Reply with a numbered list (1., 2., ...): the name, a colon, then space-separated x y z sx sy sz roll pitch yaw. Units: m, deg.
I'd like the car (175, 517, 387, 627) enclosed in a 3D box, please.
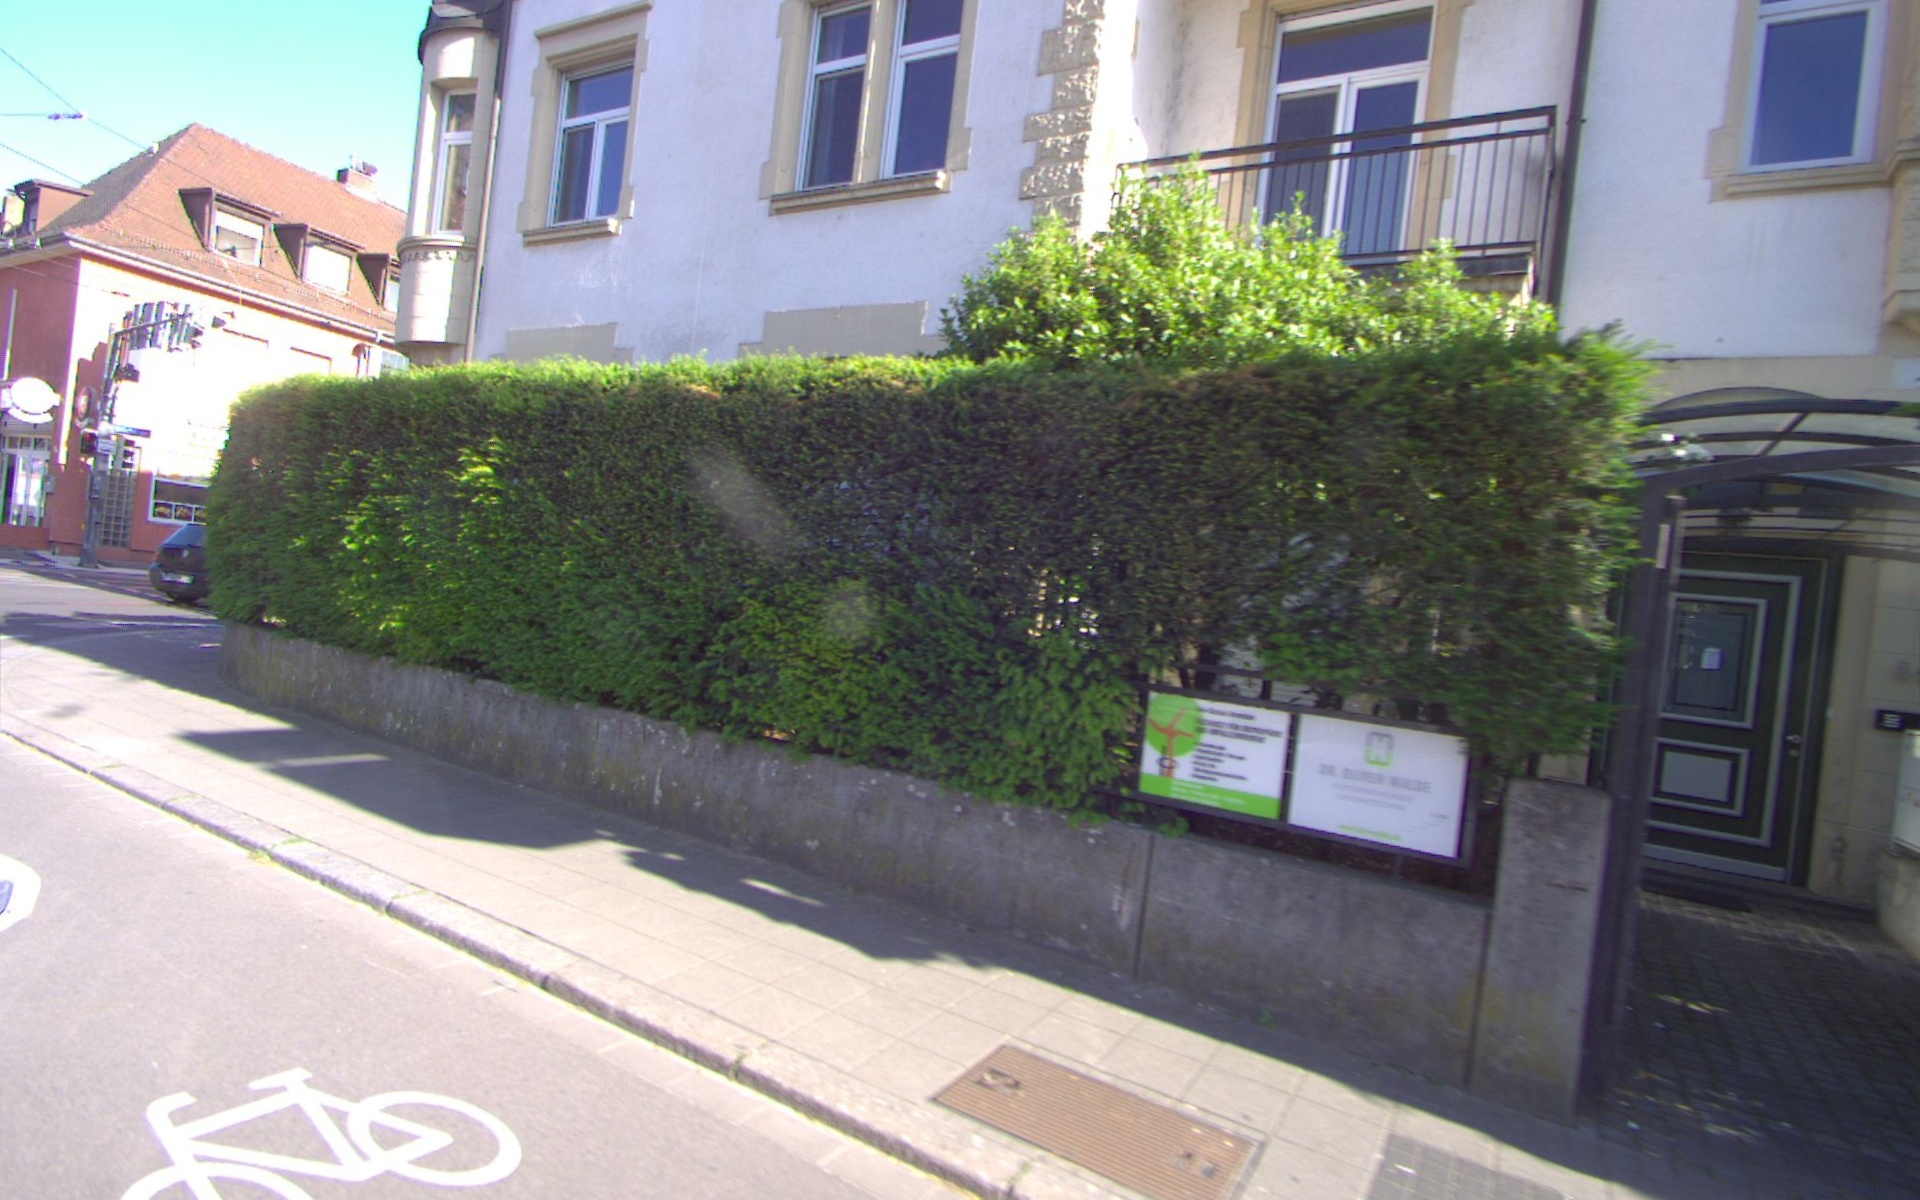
1. car: -11.851 -0.508 17.502 3.836 1.437 1.588 7 0 33
